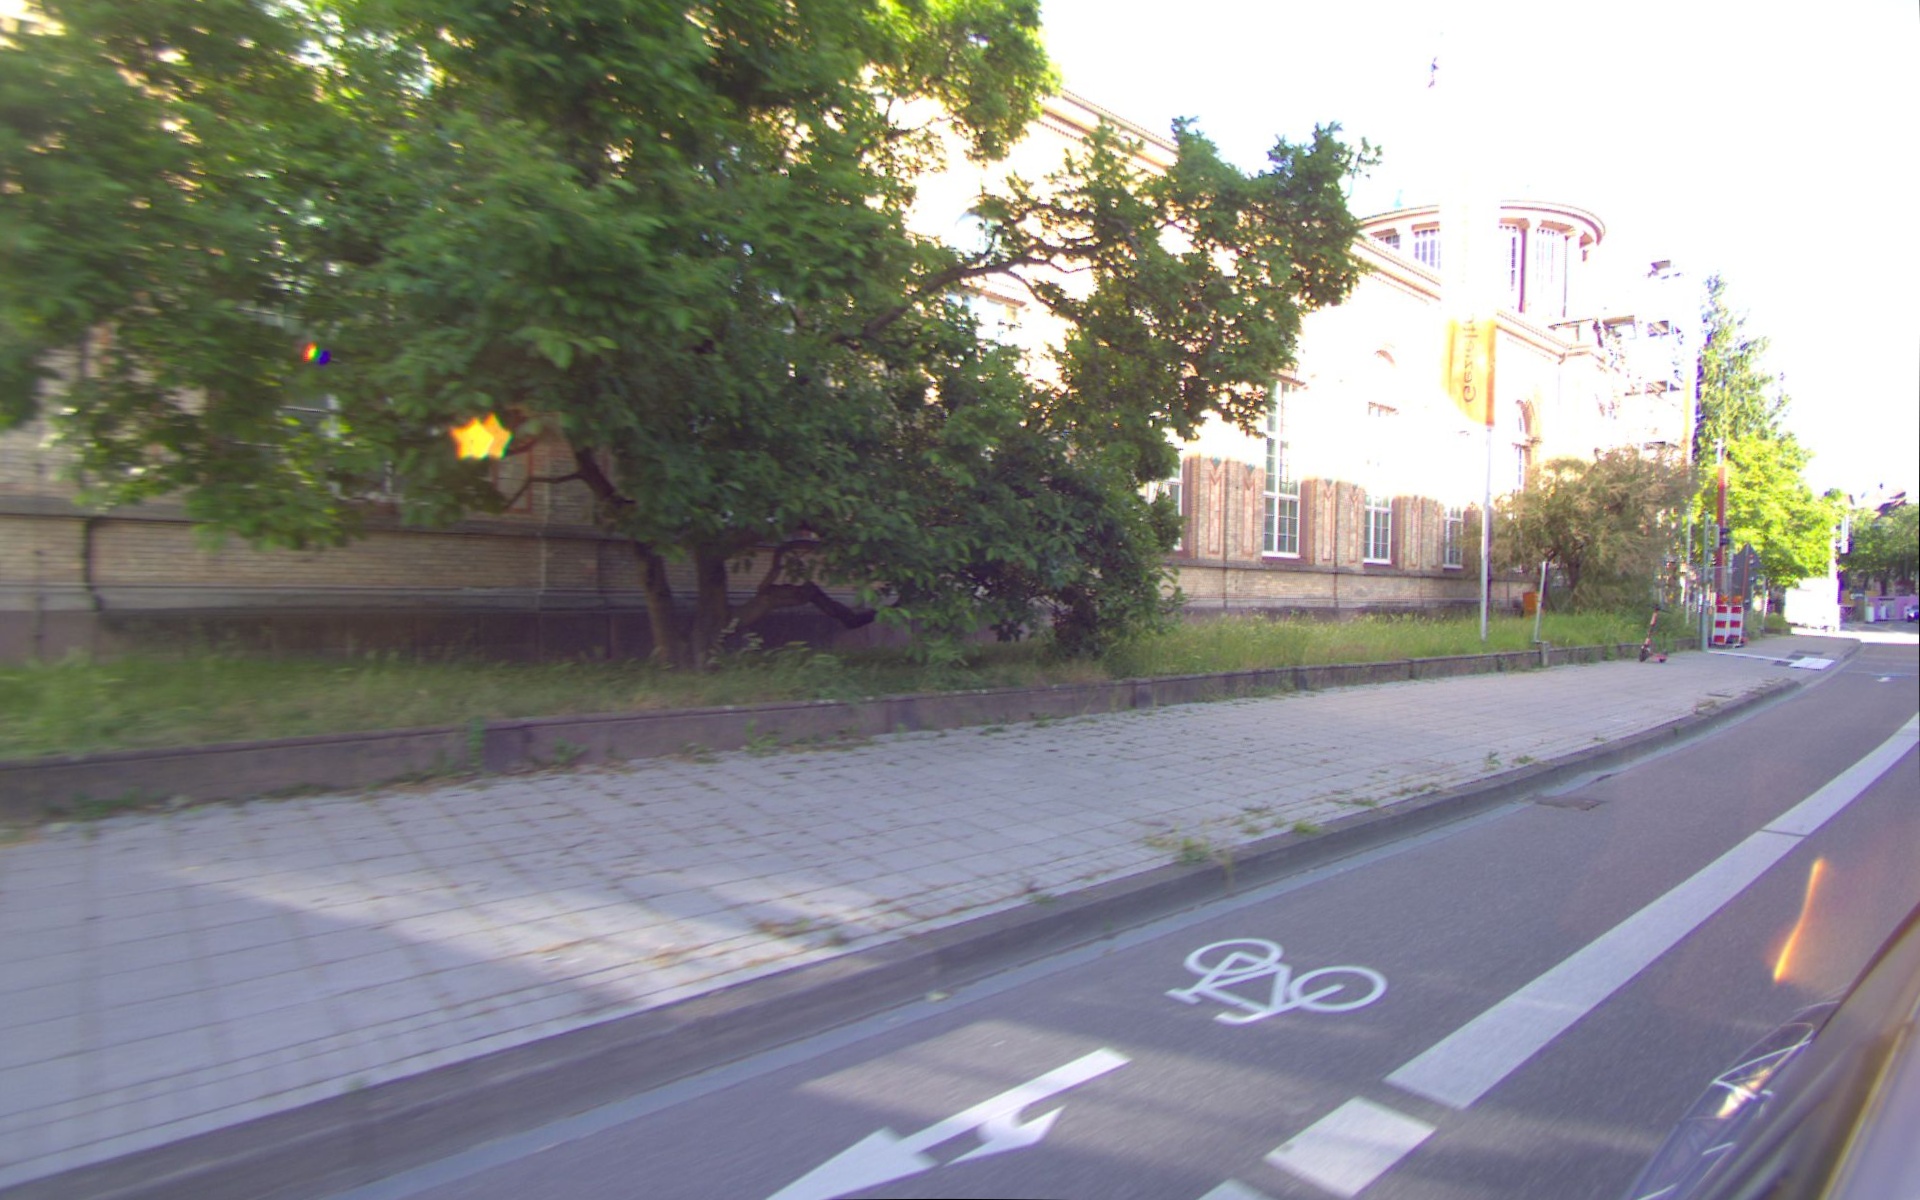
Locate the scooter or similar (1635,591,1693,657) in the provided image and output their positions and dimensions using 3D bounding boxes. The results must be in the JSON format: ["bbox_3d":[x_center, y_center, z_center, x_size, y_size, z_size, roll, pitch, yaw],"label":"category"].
[{"bbox_3d":[14.830,0.483,21.299,1.800,1.325,0.556,1,1,-41],"label":"scooter or similar"}]

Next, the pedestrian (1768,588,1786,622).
[{"bbox_3d":[48.011,0.286,59.470,0.714,1.918,0.877,3,1,39],"label":"pedestrian"}]

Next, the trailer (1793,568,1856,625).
[{"bbox_3d":[41.995,-0.165,49.148,2.079,2.559,4.423,4,3,42],"label":"trailer"}]

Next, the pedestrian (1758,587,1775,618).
[{"bbox_3d":[46.760,0.136,58.696,0.682,1.722,0.683,3,1,41],"label":"pedestrian"}]

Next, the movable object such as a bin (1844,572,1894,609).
[{"bbox_3d":[86.967,-0.919,96.879,3.156,3.341,4.325,2,1,38],"label":"movable object such as a bin"}]
